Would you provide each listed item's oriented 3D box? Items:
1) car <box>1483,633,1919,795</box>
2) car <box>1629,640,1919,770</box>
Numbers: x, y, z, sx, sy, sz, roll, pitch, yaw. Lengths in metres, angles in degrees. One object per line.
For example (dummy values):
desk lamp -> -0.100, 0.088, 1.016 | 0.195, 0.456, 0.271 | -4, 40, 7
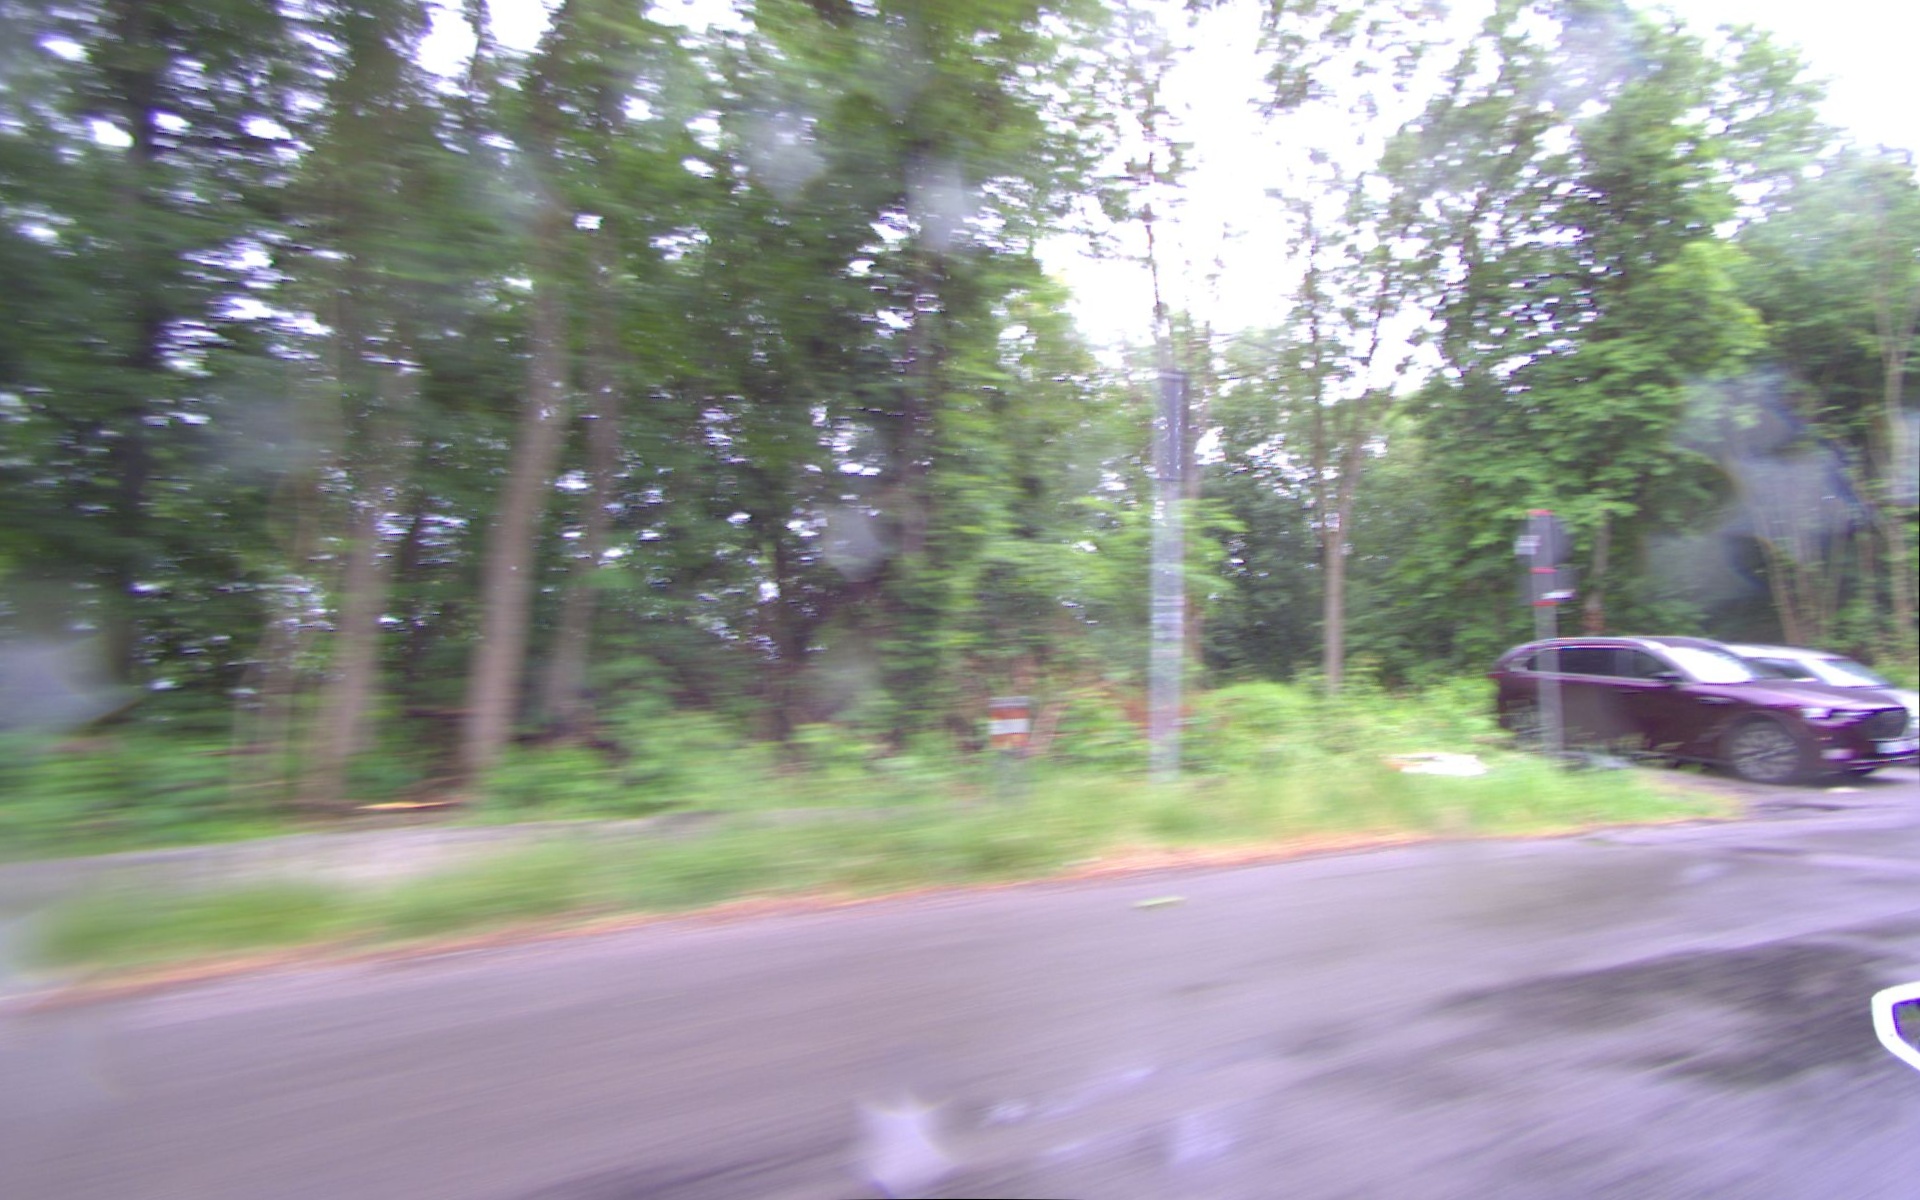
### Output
car -> 9.781, 1.328, 13.559 | 1.848, 1.699, 4.818 | -1, -1, -20
car -> 12.592, 1.440, 14.977 | 1.746, 1.575, 4.132 | -1, -1, -19
